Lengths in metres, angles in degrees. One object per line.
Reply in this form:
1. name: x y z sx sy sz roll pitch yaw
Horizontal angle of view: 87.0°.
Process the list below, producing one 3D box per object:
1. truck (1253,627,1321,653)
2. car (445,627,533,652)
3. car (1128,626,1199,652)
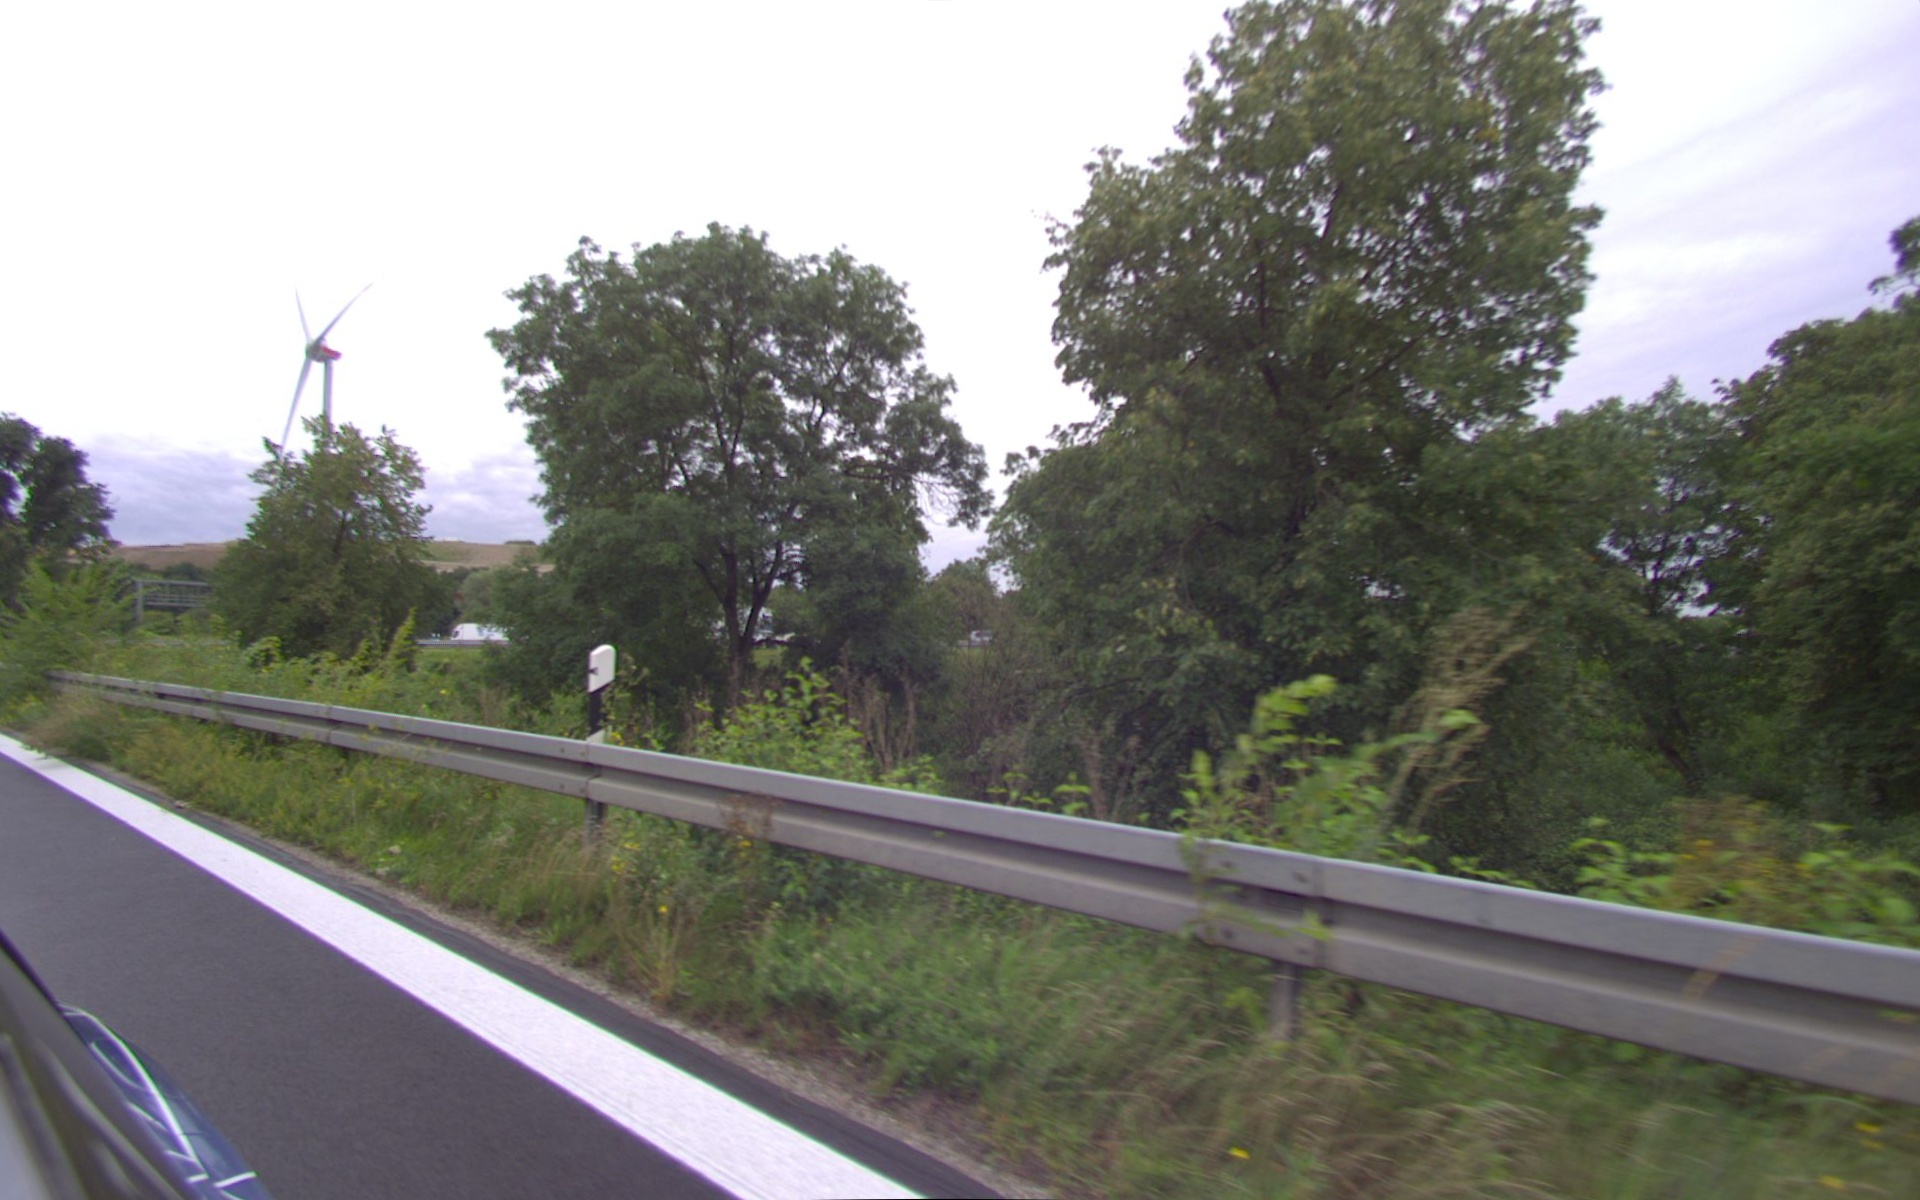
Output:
1. truck: 33.900 4.139 105.179 6.380 2.649 2.246 0 -2 10
2. car: -57.138 4.734 122.799 9.971 3.005 2.732 0 -2 10
3. car: 13.369 2.571 66.743 4.502 1.650 1.962 0 -2 9
